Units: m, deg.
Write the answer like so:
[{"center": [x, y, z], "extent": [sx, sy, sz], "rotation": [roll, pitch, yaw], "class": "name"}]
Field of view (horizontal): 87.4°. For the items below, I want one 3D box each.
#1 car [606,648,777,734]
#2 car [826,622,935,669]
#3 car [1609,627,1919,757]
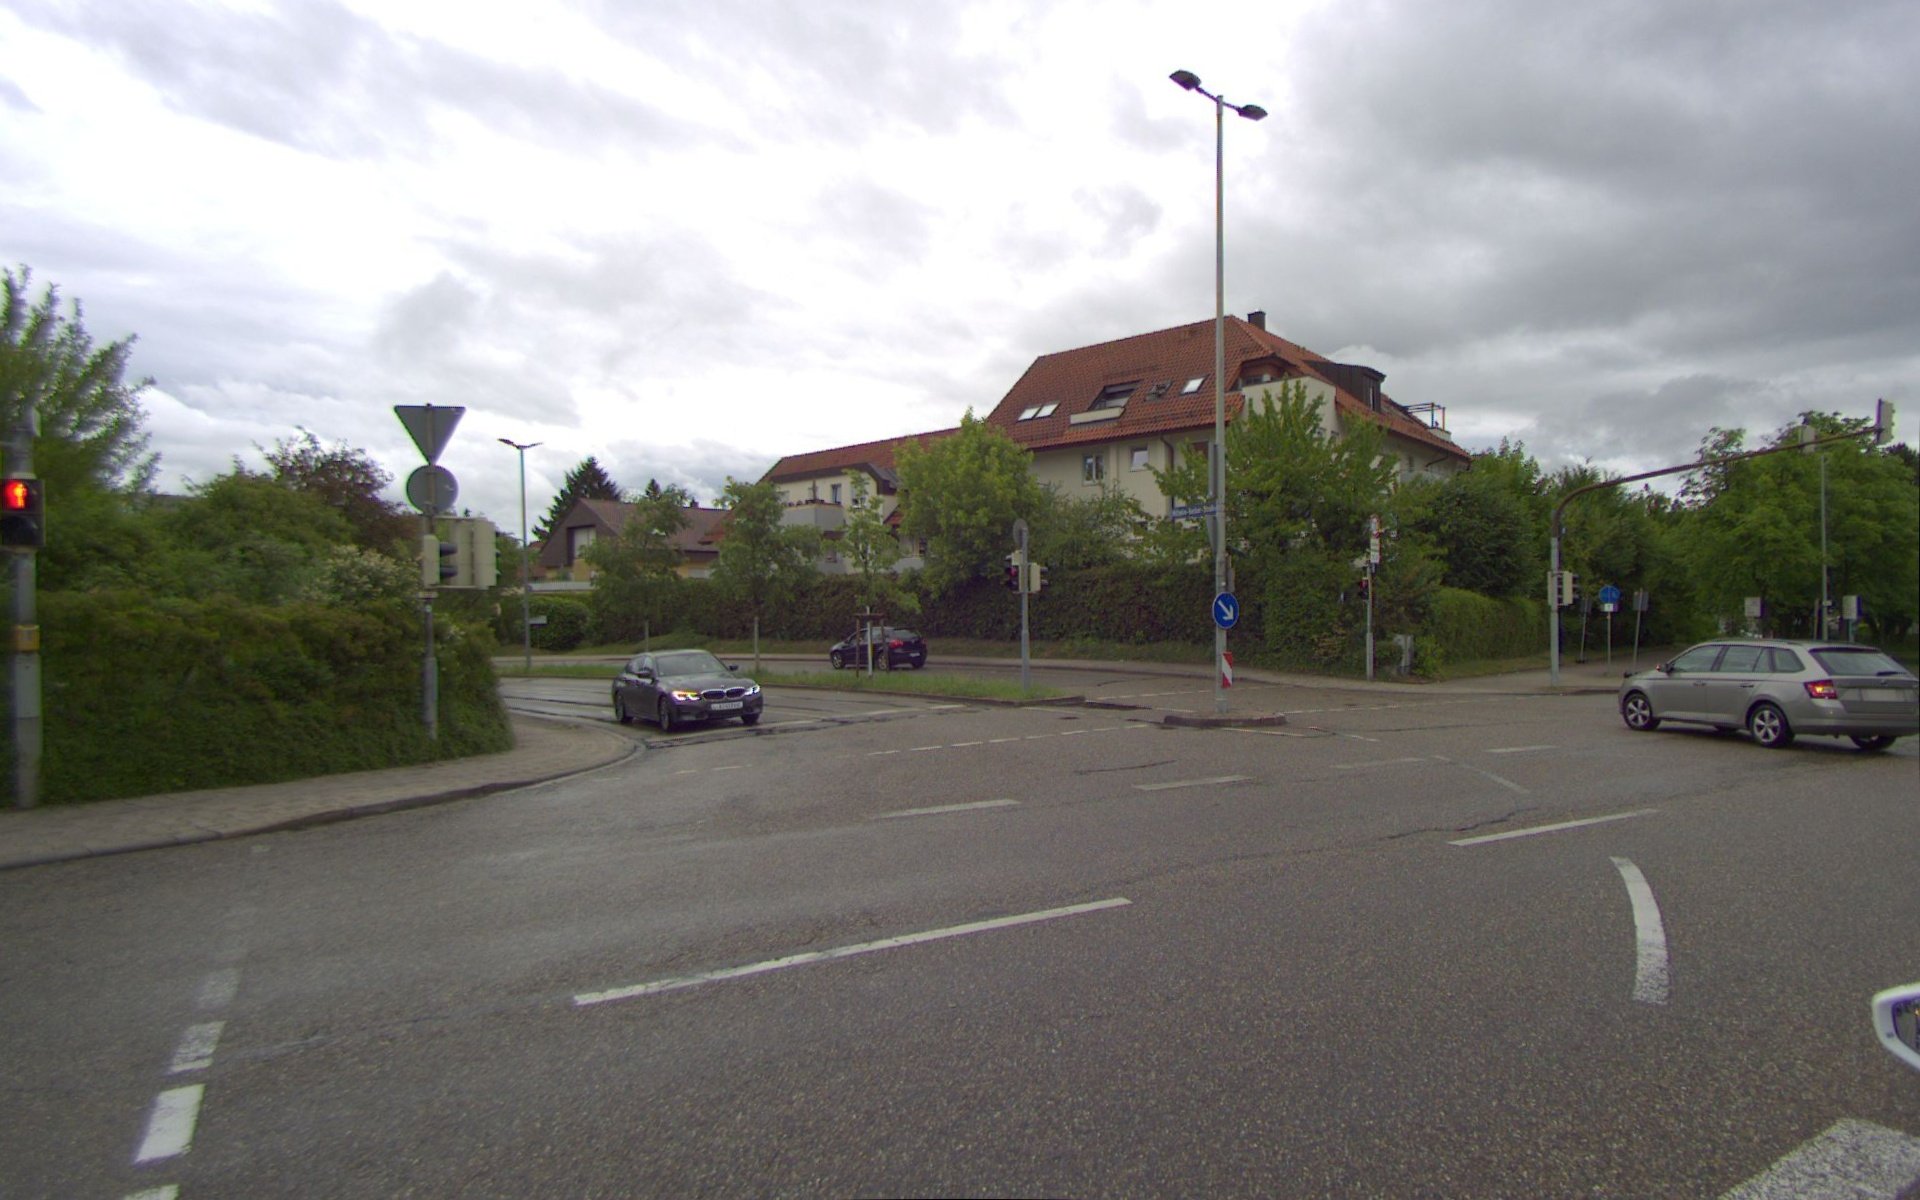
[{"center": [-5.369, 1.715, 19.709], "extent": [1.759, 1.411, 4.391], "rotation": [-1, -2, -36], "class": "car"}, {"center": [-2.845, 1.558, 35.366], "extent": [1.754, 1.499, 3.948], "rotation": [2, -1, -44], "class": "car"}, {"center": [11.666, 1.216, 14.687], "extent": [1.769, 1.610, 3.926], "rotation": [1, -1, -1], "class": "car"}]
